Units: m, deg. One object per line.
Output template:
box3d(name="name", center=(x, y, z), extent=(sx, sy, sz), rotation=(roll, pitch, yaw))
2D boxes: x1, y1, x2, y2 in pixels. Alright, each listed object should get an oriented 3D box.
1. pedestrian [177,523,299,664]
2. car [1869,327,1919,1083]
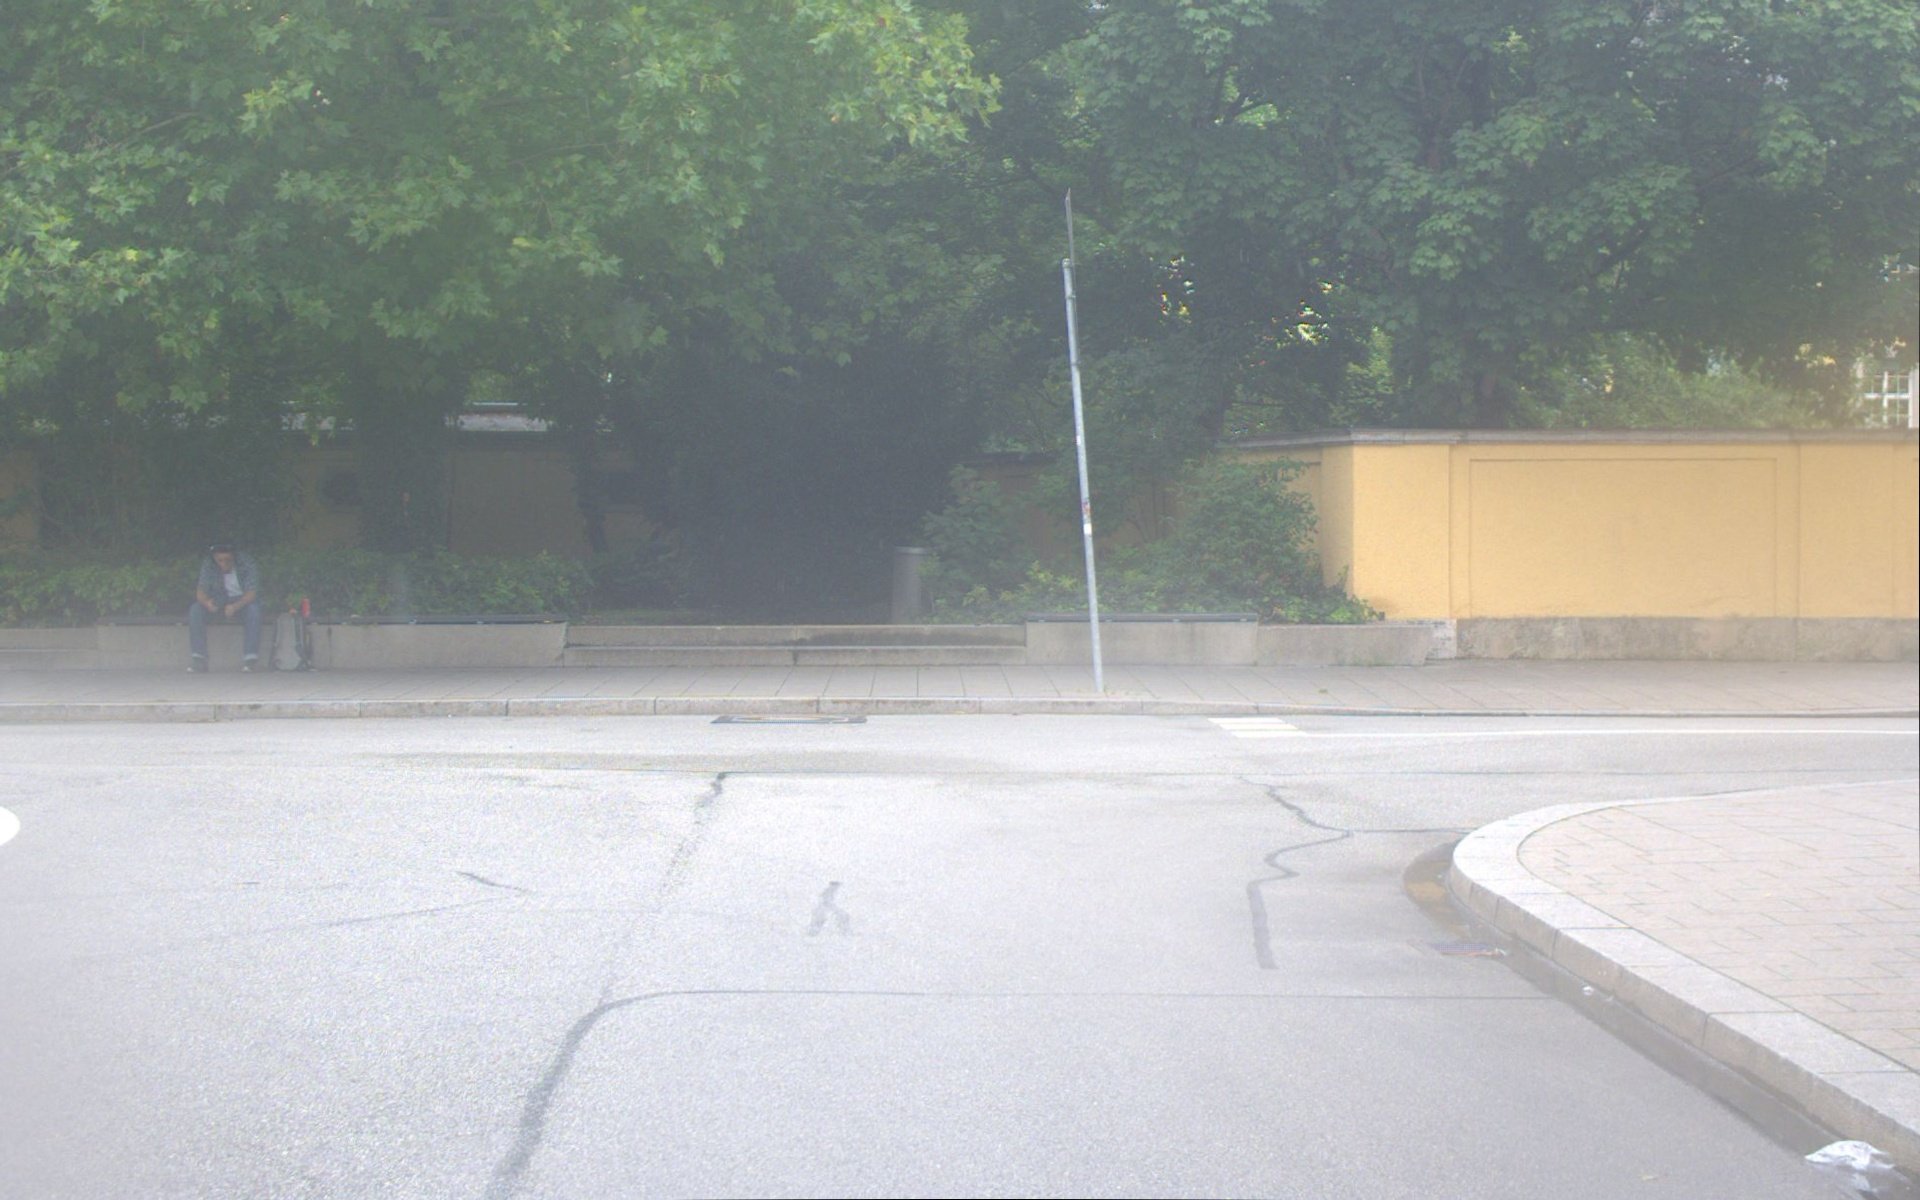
box3d(name="pedestrian", center=(-6.172, -0.068, 29.434), extent=(0.812, 1.185, 0.919), rotation=(0, 1, 3))
box3d(name="car", center=(3.573, 0.316, 6.834), extent=(1.915, 1.955, 4.928), rotation=(-1, 2, -4))
